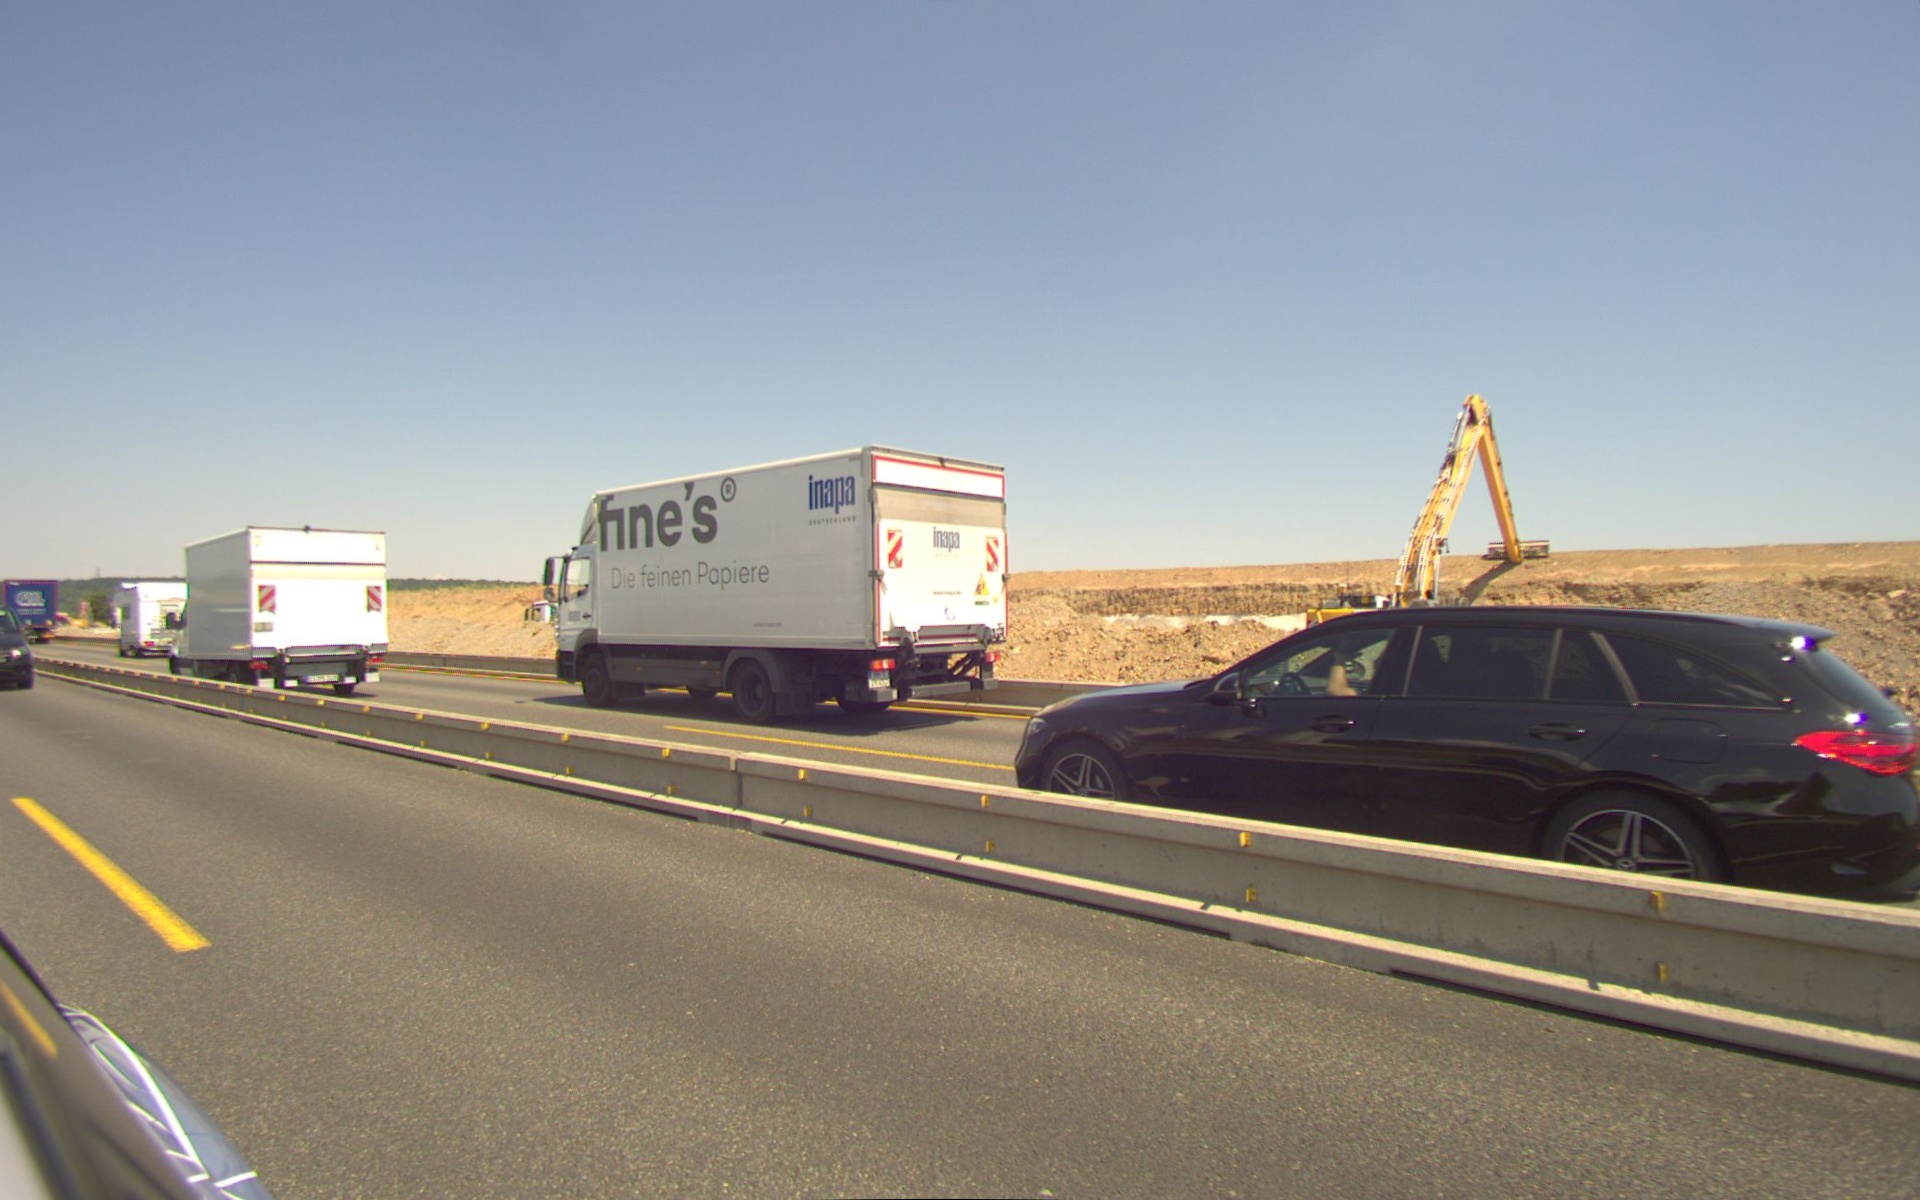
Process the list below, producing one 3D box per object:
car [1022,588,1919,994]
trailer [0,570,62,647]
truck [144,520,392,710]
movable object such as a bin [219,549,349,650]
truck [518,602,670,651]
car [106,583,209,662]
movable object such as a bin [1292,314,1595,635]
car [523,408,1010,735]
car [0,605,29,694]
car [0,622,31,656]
[{"bbox_3d":[2.690,0.715,5.646,4.559,1.493,1.770,-1,0,41],"label":"car"},{"bbox_3d":[-62.039,0.575,66.475,12.878,4.631,2.954,-1,0,41],"label":"trailer"},{"bbox_3d":[-13.946,0.279,20.110,7.309,3.173,2.248,-1,0,41],"label":"truck"},{"bbox_3d":[-50.472,-0.065,75.721,4.079,7.167,7.284,-1,0,41],"label":"movable object such as a bin"},{"bbox_3d":[-17.109,1.173,46.891,8.796,2.074,2.536,-1,0,40],"label":"truck"},{"bbox_3d":[-32.323,0.870,40.699,5.846,2.978,2.228,-1,0,41],"label":"car"},{"bbox_3d":[14.949,-2.730,29.485,3.386,6.823,18.034,-1,0,40],"label":"movable object such as a bin"},{"bbox_3d":[-3.334,-0.242,15.410,8.086,3.769,2.878,-2,-1,41],"label":"car"},{"bbox_3d":[-22.584,1.078,22.754,5.476,1.865,1.854,-1,0,41],"label":"car"},{"bbox_3d":[-46.731,1.878,49.327,4.361,1.586,1.743,-1,-1,42],"label":"car"}]
